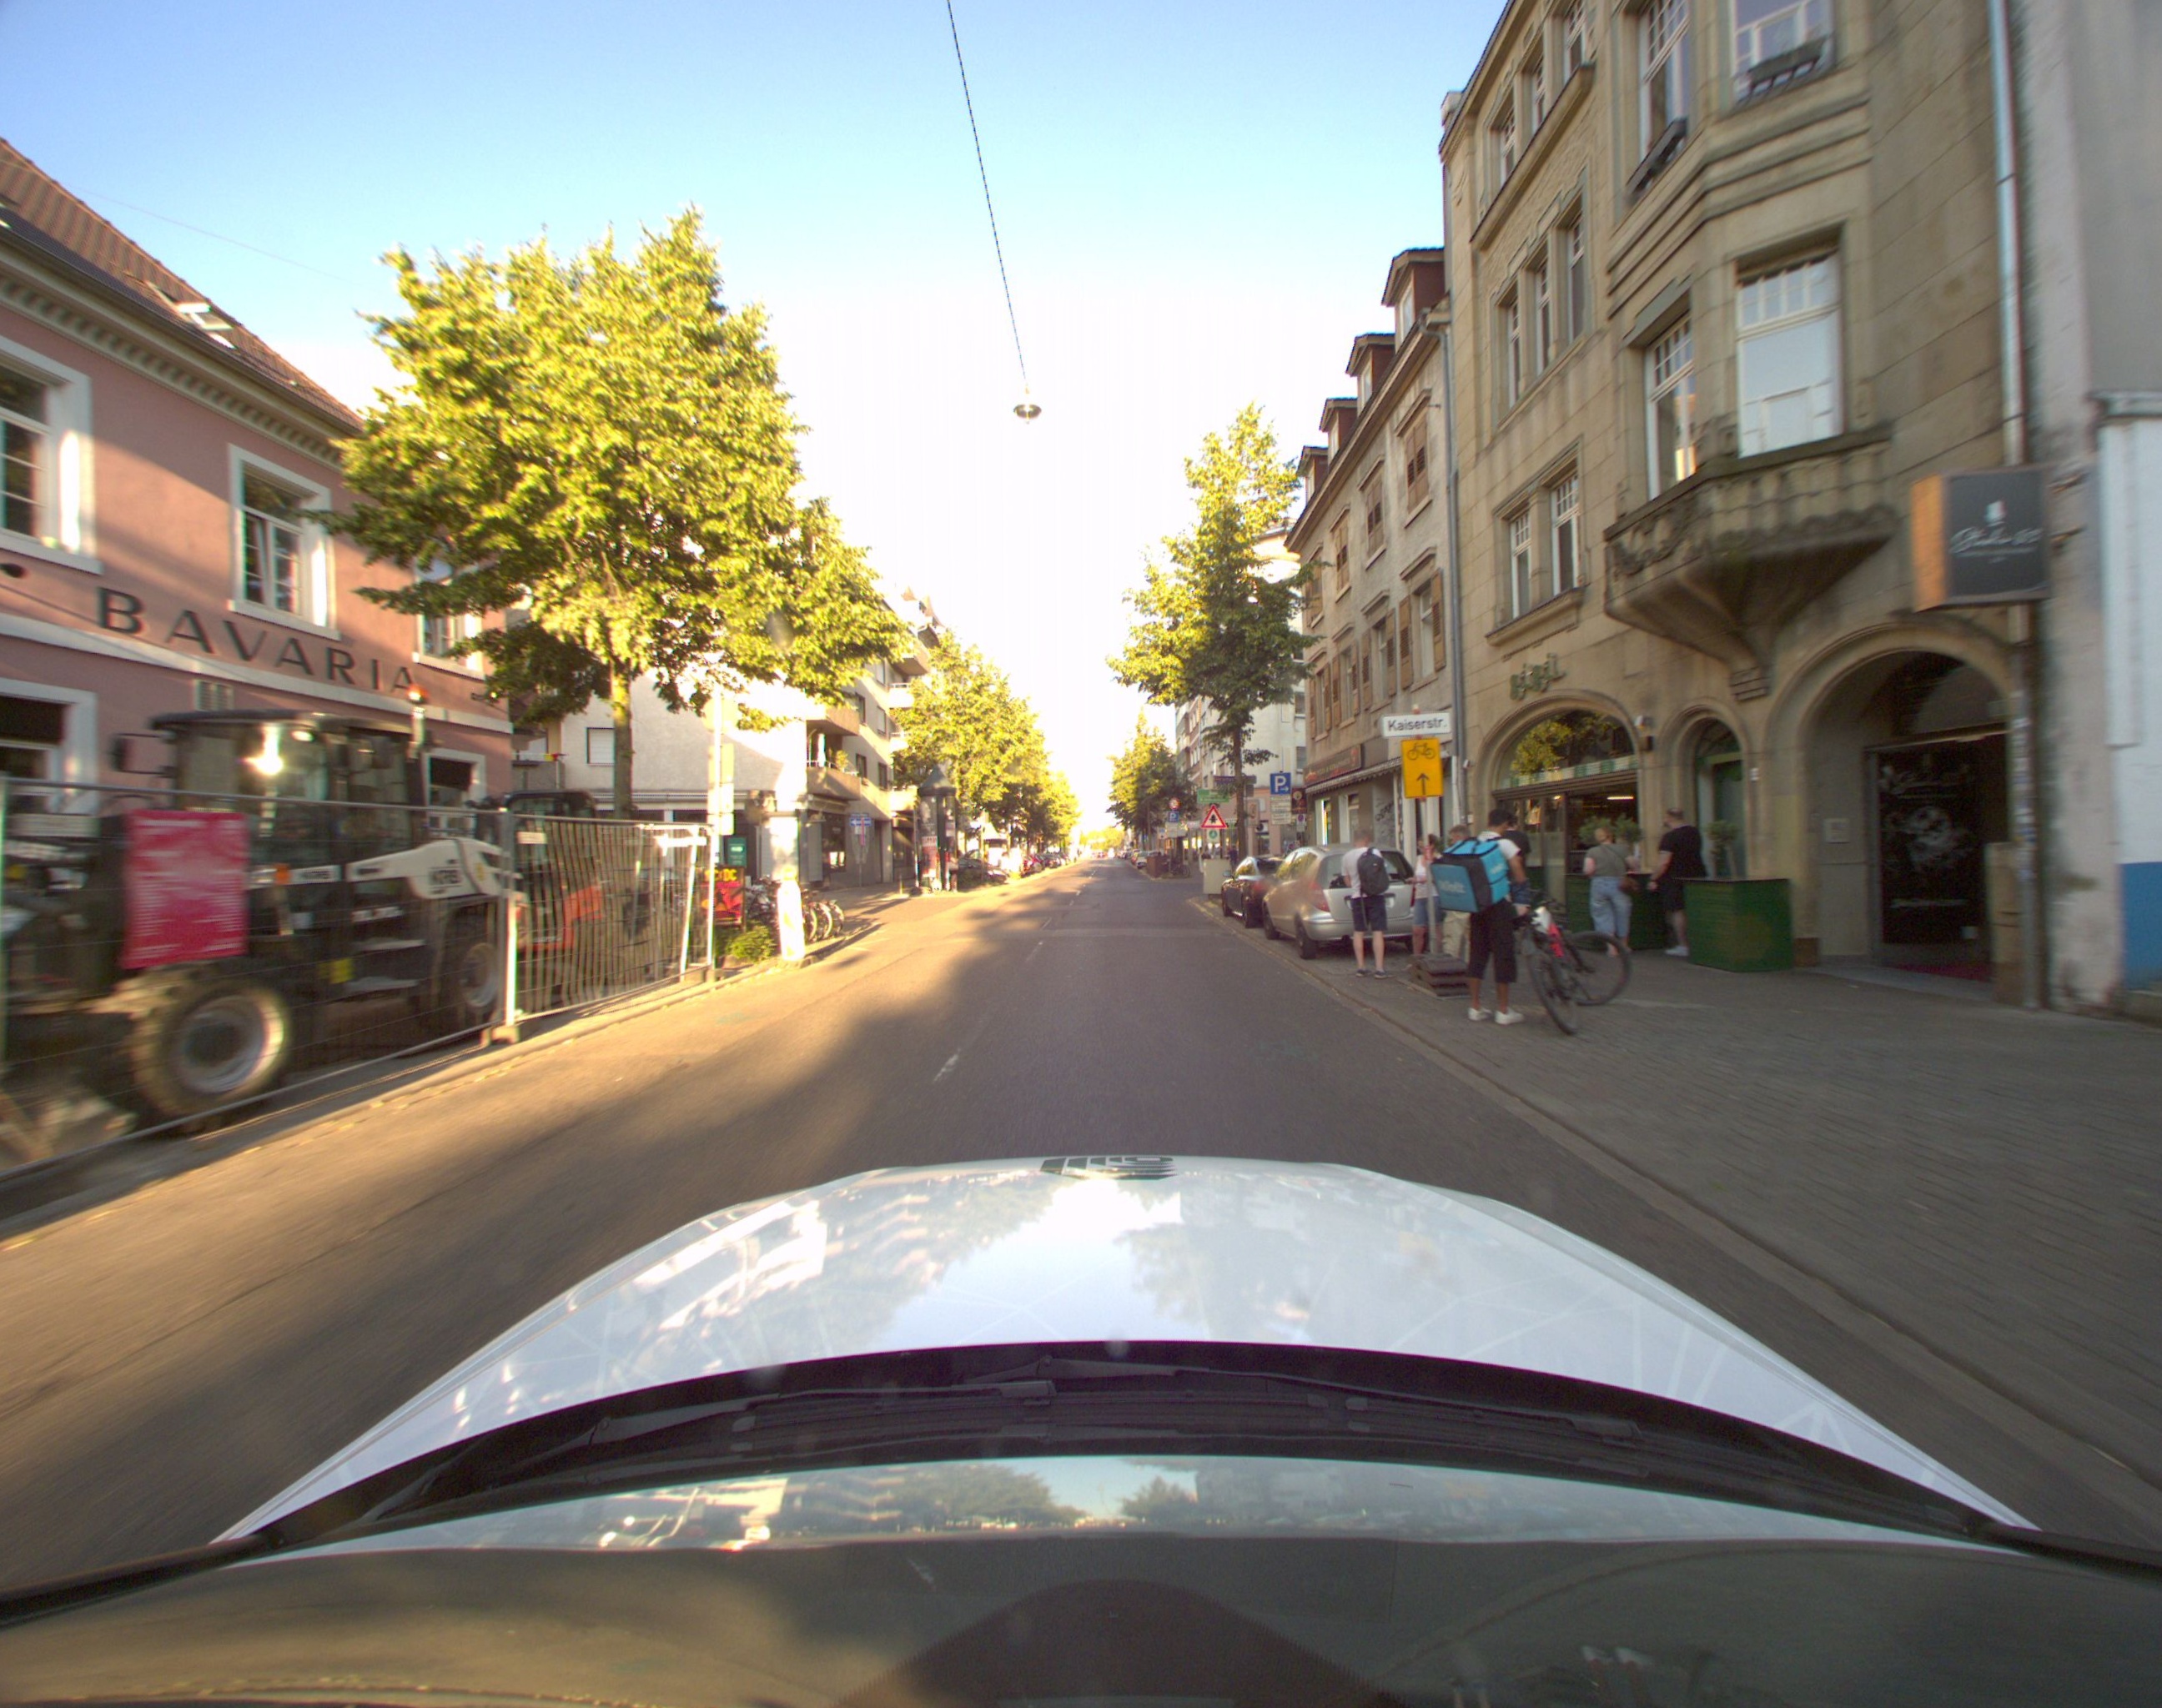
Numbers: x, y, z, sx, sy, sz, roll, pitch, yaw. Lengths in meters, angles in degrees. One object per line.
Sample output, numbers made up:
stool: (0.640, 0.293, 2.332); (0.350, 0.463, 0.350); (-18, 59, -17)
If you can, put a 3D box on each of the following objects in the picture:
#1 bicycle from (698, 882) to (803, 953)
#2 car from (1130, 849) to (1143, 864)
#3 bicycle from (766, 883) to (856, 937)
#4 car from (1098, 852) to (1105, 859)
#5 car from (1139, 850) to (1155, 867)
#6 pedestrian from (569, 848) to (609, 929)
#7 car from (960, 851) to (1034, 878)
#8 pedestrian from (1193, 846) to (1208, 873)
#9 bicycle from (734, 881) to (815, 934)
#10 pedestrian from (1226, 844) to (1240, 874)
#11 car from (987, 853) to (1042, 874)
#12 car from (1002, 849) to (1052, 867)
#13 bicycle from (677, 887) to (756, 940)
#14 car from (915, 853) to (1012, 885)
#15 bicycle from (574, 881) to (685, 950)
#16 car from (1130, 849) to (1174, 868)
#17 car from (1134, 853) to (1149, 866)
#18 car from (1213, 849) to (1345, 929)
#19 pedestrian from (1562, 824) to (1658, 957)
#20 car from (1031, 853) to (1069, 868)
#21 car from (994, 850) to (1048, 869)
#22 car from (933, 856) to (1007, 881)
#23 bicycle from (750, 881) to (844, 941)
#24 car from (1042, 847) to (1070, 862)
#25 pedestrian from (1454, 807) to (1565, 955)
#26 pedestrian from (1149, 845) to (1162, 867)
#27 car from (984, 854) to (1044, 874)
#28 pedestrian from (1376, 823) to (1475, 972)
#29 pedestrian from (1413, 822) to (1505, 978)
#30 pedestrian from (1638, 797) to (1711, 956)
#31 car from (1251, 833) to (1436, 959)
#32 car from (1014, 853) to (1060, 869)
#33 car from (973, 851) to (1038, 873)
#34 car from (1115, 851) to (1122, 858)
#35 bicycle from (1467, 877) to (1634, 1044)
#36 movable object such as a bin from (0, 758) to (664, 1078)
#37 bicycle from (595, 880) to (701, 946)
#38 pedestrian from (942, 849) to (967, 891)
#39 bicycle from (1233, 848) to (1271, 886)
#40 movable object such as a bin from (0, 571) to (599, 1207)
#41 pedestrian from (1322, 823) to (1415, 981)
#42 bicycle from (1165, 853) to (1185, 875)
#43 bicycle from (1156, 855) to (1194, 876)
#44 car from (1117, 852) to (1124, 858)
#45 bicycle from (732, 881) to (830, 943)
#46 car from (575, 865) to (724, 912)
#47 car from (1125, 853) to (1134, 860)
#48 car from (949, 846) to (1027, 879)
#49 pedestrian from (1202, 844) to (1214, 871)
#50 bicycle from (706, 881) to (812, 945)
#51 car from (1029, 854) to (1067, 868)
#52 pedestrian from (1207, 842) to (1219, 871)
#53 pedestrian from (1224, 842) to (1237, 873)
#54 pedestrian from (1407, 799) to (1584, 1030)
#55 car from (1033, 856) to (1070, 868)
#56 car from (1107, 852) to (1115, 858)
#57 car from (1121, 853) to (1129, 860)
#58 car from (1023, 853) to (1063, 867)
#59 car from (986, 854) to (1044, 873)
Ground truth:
bicycle: (-5.524, 1.044, 13.639); (1.554, 1.116, 0.440); (2, -1, -31)
car: (6.863, 0.315, 101.185); (1.507, 1.864, 4.238); (-1, 0, 3)
bicycle: (-5.449, 1.113, 16.432); (1.672, 1.021, 0.445); (1, -1, 9)
car: (5.321, 0.368, 209.279); (1.745, 1.540, 3.306); (-2, 0, 3)
car: (6.274, 0.409, 77.558); (1.507, 1.578, 3.221); (-1, 0, 3)
pedestrian: (-10.832, 0.751, 17.951); (0.504, 1.737, 0.719); (-1, -2, -8)
car: (-5.475, 0.695, 53.669); (4.553, 1.698, 2.061); (-1, 0, 2)
pedestrian: (7.453, 0.341, 50.566); (0.791, 1.625, 0.916); (-1, 0, 14)
bicycle: (-6.388, 1.112, 17.018); (1.484, 1.059, 0.470); (0, -1, -5)
pedestrian: (8.140, 0.258, 43.638); (0.565, 1.584, 0.664); (-3, 1, 2)
car: (-5.550, 0.783, 68.423); (4.425, 1.638, 1.860); (-1, 0, 2)
car: (-4.974, 0.361, 75.362); (4.425, 1.568, 1.920); (-1, 0, 2)
bicycle: (-6.982, 1.127, 15.607); (1.318, 0.980, 0.445); (0, -1, 5)
car: (-5.796, 0.740, 40.668); (4.531, 1.541, 1.811); (-1, 0, 0)
bicycle: (-7.686, 1.035, 13.888); (1.674, 1.149, 0.445); (0, -1, 5)
car: (6.049, 0.361, 69.331); (1.654, 1.588, 3.846); (-1, 0, 44)
car: (6.649, 0.569, 89.408); (1.507, 1.406, 3.840); (-1, 0, 3)
car: (4.065, 0.645, 17.457); (1.778, 1.375, 4.525); (-4, 0, 2)
pedestrian: (6.583, 0.435, 10.168); (0.656, 1.562, 0.702); (-4, 0, 2)
car: (-3.756, 0.760, 99.243); (4.425, 1.759, 1.920); (-1, 0, 2)
car: (-5.210, 0.483, 70.649); (4.425, 1.568, 1.920); (-1, 0, 2)
car: (-6.238, 0.818, 46.036); (3.773, 1.391, 2.046); (-1, -1, 5)
bicycle: (-5.463, 1.079, 15.693); (1.672, 1.079, 0.445); (1, -1, 9)
car: (-4.156, 0.090, 136.735); (4.425, 2.435, 1.920); (-1, 0, 2)
pedestrian: (5.779, 0.348, 11.050); (0.820, 1.854, 1.097); (-4, 0, 0)
pedestrian: (6.647, 0.176, 72.588); (0.916, 1.926, 1.015); (0, 0, -8)
car: (-5.192, 0.778, 63.348); (4.425, 1.484, 1.810); (-1, 0, 2)
pedestrian: (4.213, 0.514, 10.000); (0.678, 1.706, 0.822); (-4, 0, -13)
pedestrian: (4.353, 0.507, 9.388); (0.657, 1.700, 0.660); (-4, 0, -42)
pedestrian: (7.247, 0.259, 9.953); (0.460, 1.875, 0.499); (-2, 0, -13)
car: (3.928, 0.557, 12.889); (1.680, 1.575, 4.015); (-4, 0, 2)
car: (-4.372, 0.698, 81.870); (4.425, 1.448, 1.920); (-1, 0, 2)
car: (-5.391, 0.588, 58.729); (4.425, 1.506, 1.846); (-1, 0, 2)
car: (9.347, 0.129, 201.422); (1.745, 1.540, 3.306); (-2, 0, 3)
bicycle: (4.087, 0.824, 7.011); (0.856, 1.098, 1.939); (-3, 1, 41)
movable object such as a bin: (-7.872, 0.477, 8.536); (2.285, 2.495, 5.788); (-1, 0, 45)
bicycle: (-7.695, 1.041, 14.500); (1.674, 1.149, 0.445); (0, -1, 5)
pedestrian: (-5.177, 0.643, 33.391); (0.706, 1.686, 0.836); (-1, 0, 11)
bicycle: (5.252, 0.392, 25.092); (0.775, 1.111, 1.900); (-3, -1, 2)
movable object such as a bin: (-6.295, 0.178, 5.588); (2.615, 2.969, 5.305); (-1, 0, 2)
pedestrian: (3.375, 0.537, 9.617); (0.677, 1.754, 0.823); (-2, 0, -9)
bicycle: (5.321, 0.572, 46.008); (0.592, 1.178, 1.856); (-1, 0, 21)
bicycle: (5.124, 0.634, 44.551); (1.935, 1.074, 0.710); (-1, 0, 33)
car: (9.210, 0.293, 189.793); (1.507, 1.298, 3.306); (-1, 0, 3)
bicycle: (-5.559, 1.057, 15.124); (1.672, 1.079, 0.445); (1, -1, 9)
car: (-14.478, 1.125, 27.626); (4.211, 1.380, 1.986); (-1, 0, -21)
car: (8.865, 0.410, 148.772); (1.507, 1.276, 3.306); (-1, 0, 3)
car: (-5.766, 0.523, 51.006); (4.554, 1.962, 1.991); (-1, 0, 1)
pedestrian: (7.975, 0.209, 51.233); (0.628, 1.680, 0.893); (-1, 0, 5)
bicycle: (-5.738, 1.043, 14.537); (1.676, 1.079, 0.444); (1, -1, 1)
car: (-3.910, 0.865, 97.142); (4.287, 1.598, 1.920); (-1, 0, 2)
pedestrian: (8.356, 0.158, 51.466); (0.693, 1.805, 0.894); (-1, 0, 10)
pedestrian: (8.154, 0.186, 44.402); (0.565, 1.599, 0.664); (-3, 1, 2)
pedestrian: (3.568, 0.487, 7.084); (1.013, 1.825, 0.778); (-4, 0, -8)
car: (-3.657, 0.965, 102.361); (4.425, 1.499, 1.920); (-1, 0, 2)
car: (7.604, 0.176, 206.816); (1.714, 1.475, 3.306); (-2, 0, 3)
car: (9.046, 0.502, 166.986); (1.507, 1.263, 3.306); (-1, 0, 3)
car: (-4.318, 0.632, 92.751); (4.425, 1.523, 1.920); (-1, 0, 2)
car: (-5.326, 0.741, 65.659); (4.425, 1.458, 1.860); (-1, 0, 2)
